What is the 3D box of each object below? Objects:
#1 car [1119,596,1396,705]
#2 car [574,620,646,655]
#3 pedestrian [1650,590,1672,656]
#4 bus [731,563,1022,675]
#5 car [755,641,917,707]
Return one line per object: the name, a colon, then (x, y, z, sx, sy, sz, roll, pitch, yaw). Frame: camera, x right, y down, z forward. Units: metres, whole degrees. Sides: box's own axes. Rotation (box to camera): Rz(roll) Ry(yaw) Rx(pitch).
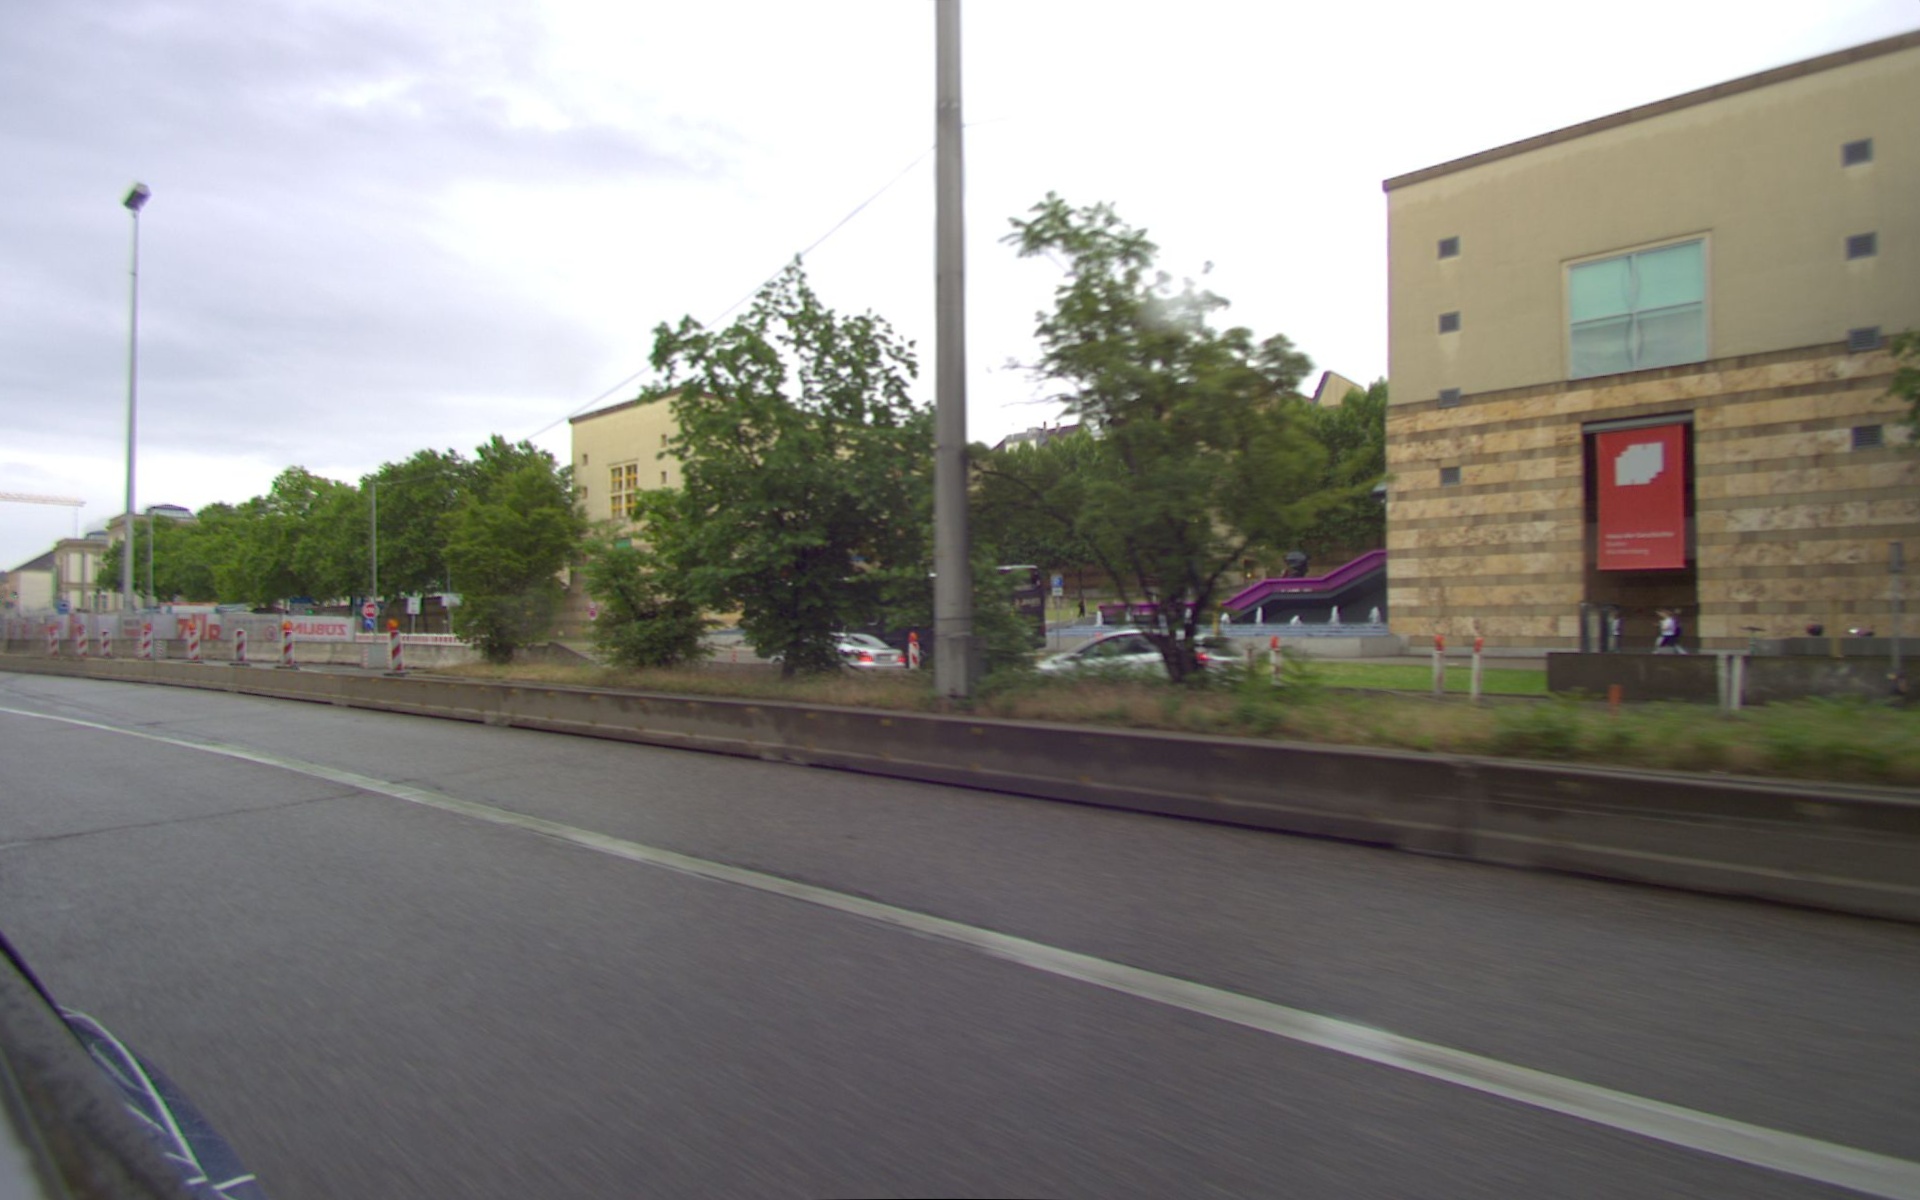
car: (4.608, 0.759, 16.012, 3.929, 1.519, 1.529, -2, -2, 41)
car: (-15.964, 1.718, 46.107, 3.210, 1.512, 1.576, -1, -3, 38)
pedestrian: (21.822, 0.709, 31.505, 0.512, 2.029, 0.473, -1, -3, 41)
bus: (-3.973, 0.813, 40.845, 14.602, 3.840, 2.772, -2, -1, 44)
car: (-3.642, 2.065, 29.124, 4.808, 1.637, 1.972, -1, -3, 43)
